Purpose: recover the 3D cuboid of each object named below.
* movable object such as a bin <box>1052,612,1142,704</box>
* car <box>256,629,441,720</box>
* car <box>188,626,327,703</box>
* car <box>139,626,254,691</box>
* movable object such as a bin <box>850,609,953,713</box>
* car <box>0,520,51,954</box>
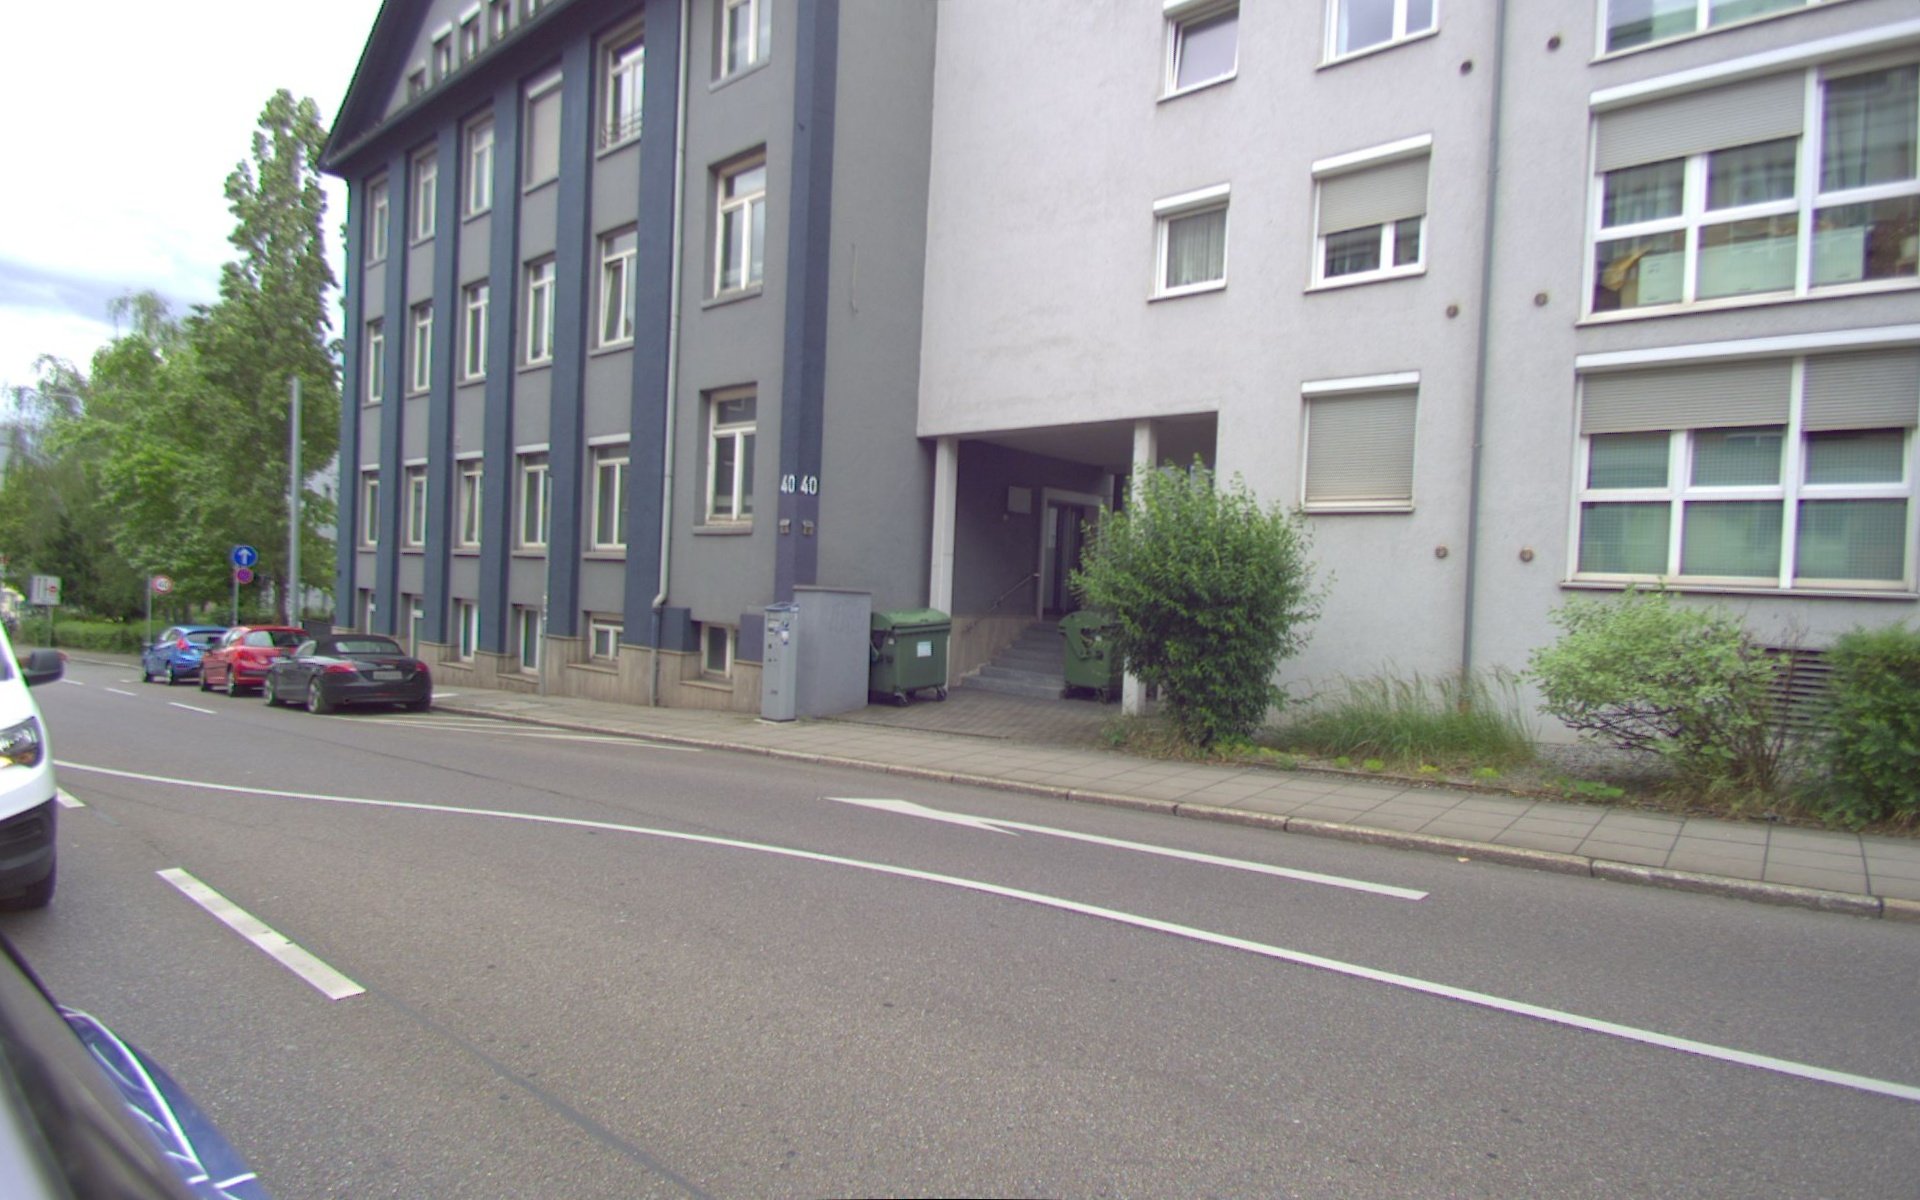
[{"bbox_3d":[2.241,0.918,16.547,1.078,1.427,1.026,-1,0,41],"label":"movable object such as a bin"},{"bbox_3d":[-10.975,1.246,18.081,3.727,1.403,1.778,-1,-2,41],"label":"car"},{"bbox_3d":[-15.343,1.340,22.042,3.727,1.460,1.623,-1,0,41],"label":"car"},{"bbox_3d":[-19.418,1.423,25.696,3.727,1.460,1.623,-1,0,41],"label":"car"},{"bbox_3d":[-0.907,0.911,15.732,1.039,1.518,1.213,-1,0,41],"label":"movable object such as a bin"},{"bbox_3d":[-6.157,0.625,5.225,3.998,1.901,1.716,-1,0,41],"label":"car"}]
